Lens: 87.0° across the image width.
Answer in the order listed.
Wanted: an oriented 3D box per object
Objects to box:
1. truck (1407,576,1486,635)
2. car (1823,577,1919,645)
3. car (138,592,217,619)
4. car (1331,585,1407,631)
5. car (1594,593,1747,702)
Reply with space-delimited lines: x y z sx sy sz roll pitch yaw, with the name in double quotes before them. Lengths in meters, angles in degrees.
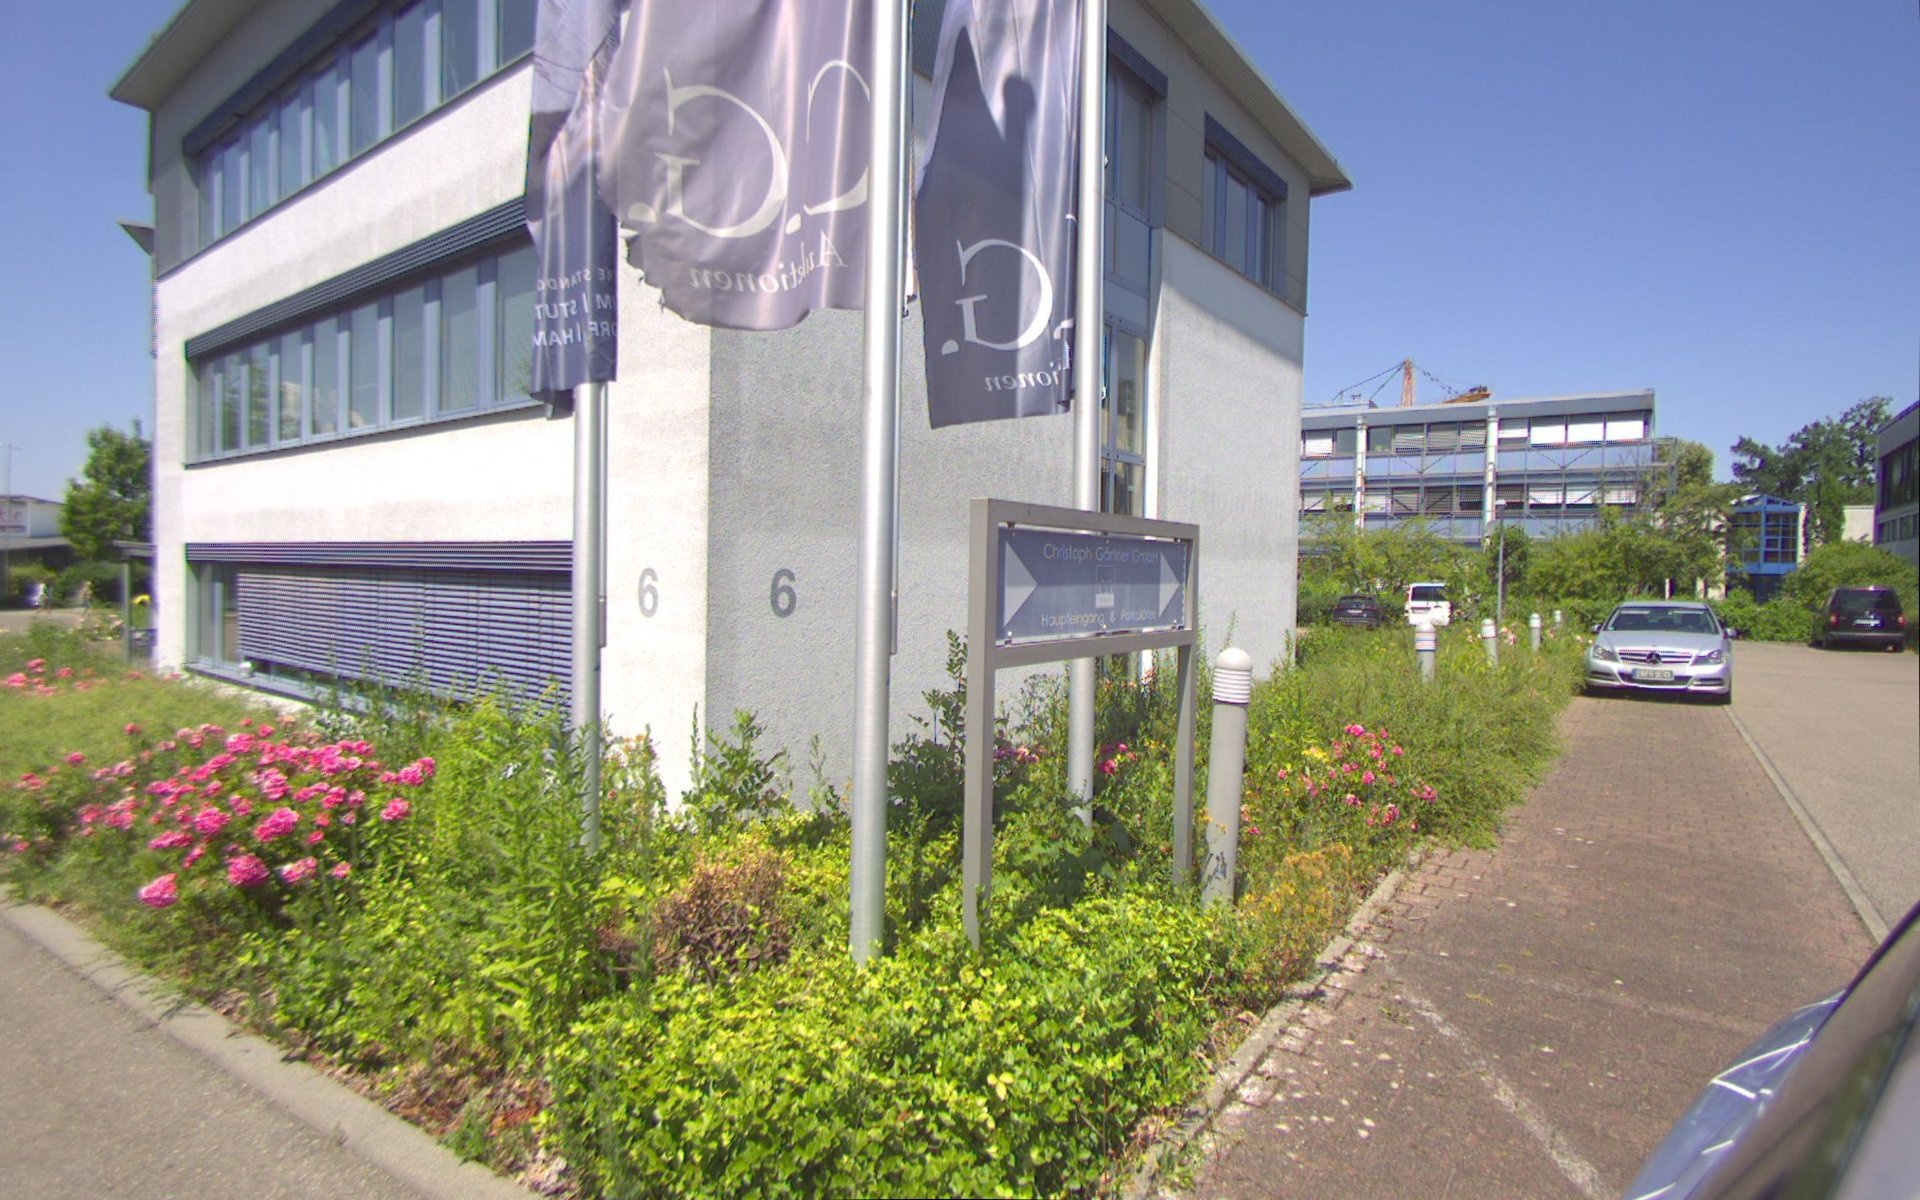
"truck" 16.941 0.147 35.162 1.986 1.917 3.952 0 0 34
"car" 26.399 0.260 29.355 1.778 1.826 3.947 0 1 37
"car" -43.411 0.291 56.171 3.153 1.460 1.590 0 0 -1
"car" 15.118 0.256 37.313 1.777 1.565 3.950 0 1 35
"car" 10.963 0.615 15.518 1.704 1.408 3.758 1 1 38
